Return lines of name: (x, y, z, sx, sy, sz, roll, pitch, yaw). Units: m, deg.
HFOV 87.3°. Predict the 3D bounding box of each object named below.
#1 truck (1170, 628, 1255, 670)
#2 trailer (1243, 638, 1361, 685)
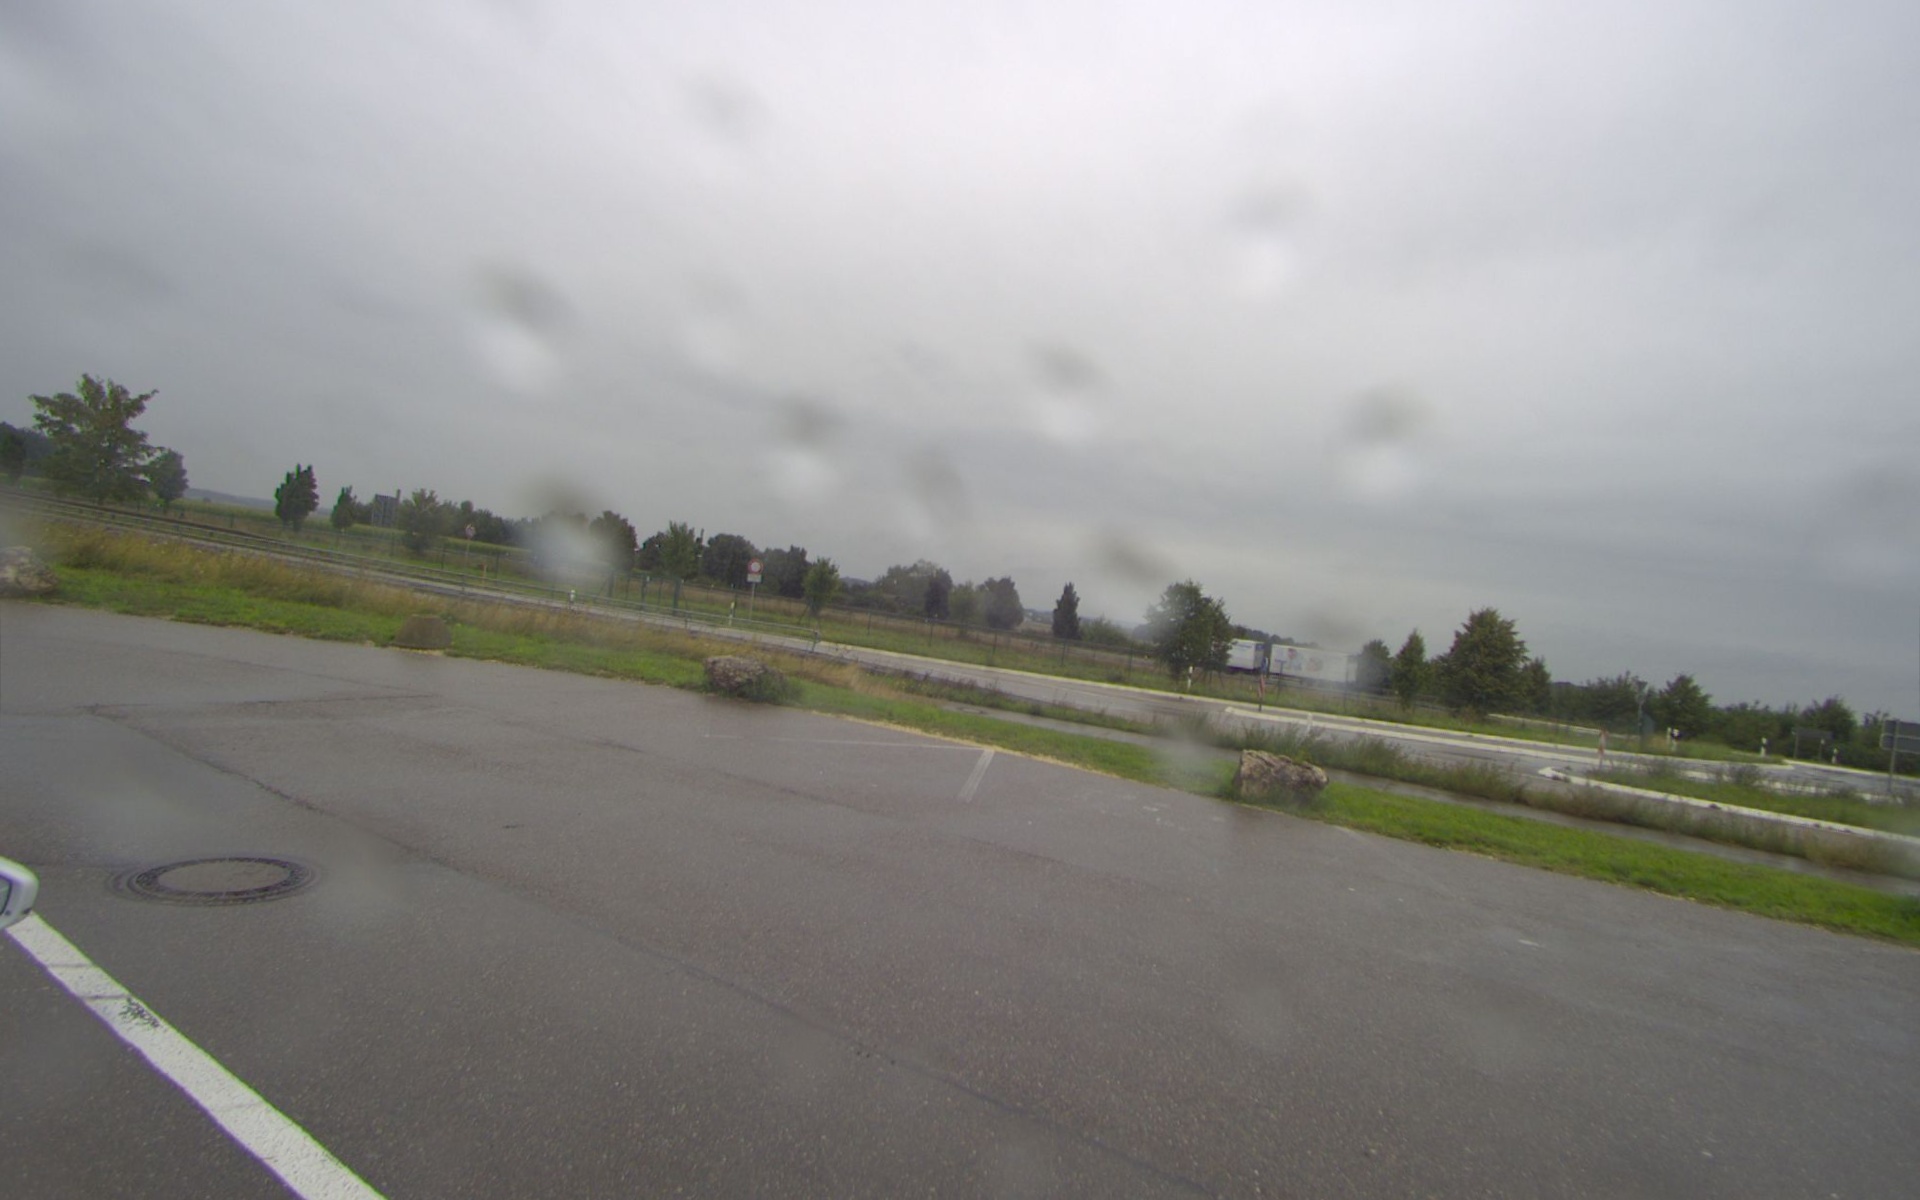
truck: (24.797, 4.788, 99.088, 7.676, 2.942, 2.176, 7, -1, 39)
trailer: (31.644, 5.627, 93.487, 9.993, 2.936, 2.199, 7, -1, 39)
